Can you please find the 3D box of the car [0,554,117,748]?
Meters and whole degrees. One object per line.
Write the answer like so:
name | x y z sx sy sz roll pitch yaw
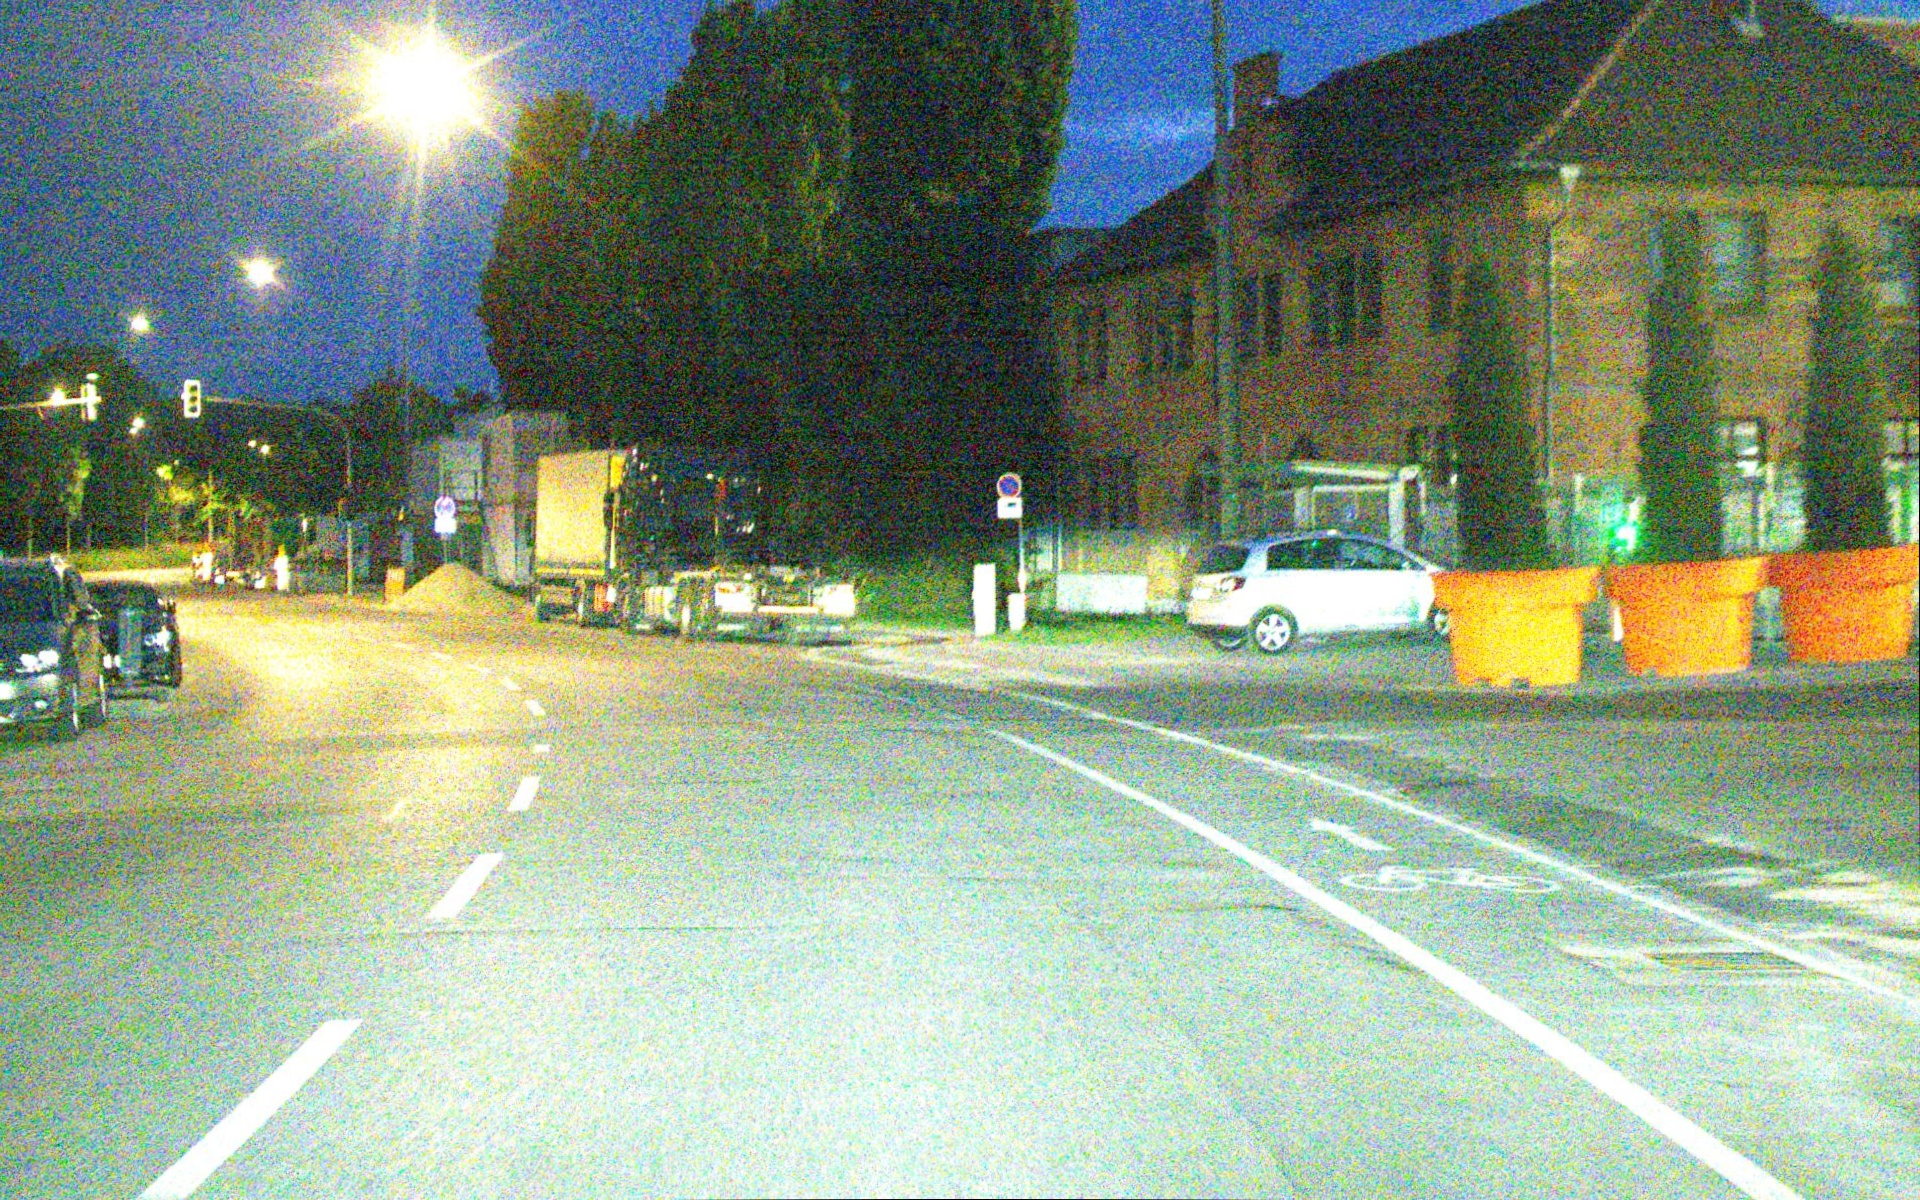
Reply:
car | -8.636 0.393 30.335 1.866 1.587 4.495 0 1 -8

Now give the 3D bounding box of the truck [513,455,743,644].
truck | -7.265 -1.055 73.705 2.754 3.770 10.228 -1 1 -18

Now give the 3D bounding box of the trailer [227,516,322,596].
trailer | -25.188 -1.576 126.199 2.613 2.836 4.710 1 0 -21

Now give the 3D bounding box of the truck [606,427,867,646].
truck | -4.307 -1.151 64.030 2.754 3.770 9.140 -1 1 -17

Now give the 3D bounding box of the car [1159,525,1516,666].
car | 5.079 -0.086 46.306 4.325 1.640 1.893 -3 2 -18

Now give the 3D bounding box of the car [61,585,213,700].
car | -10.651 0.510 44.375 1.813 1.366 4.362 0 1 -14

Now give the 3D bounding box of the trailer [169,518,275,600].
trailer | -30.022 -1.652 139.786 3.480 3.208 4.866 1 0 -21
